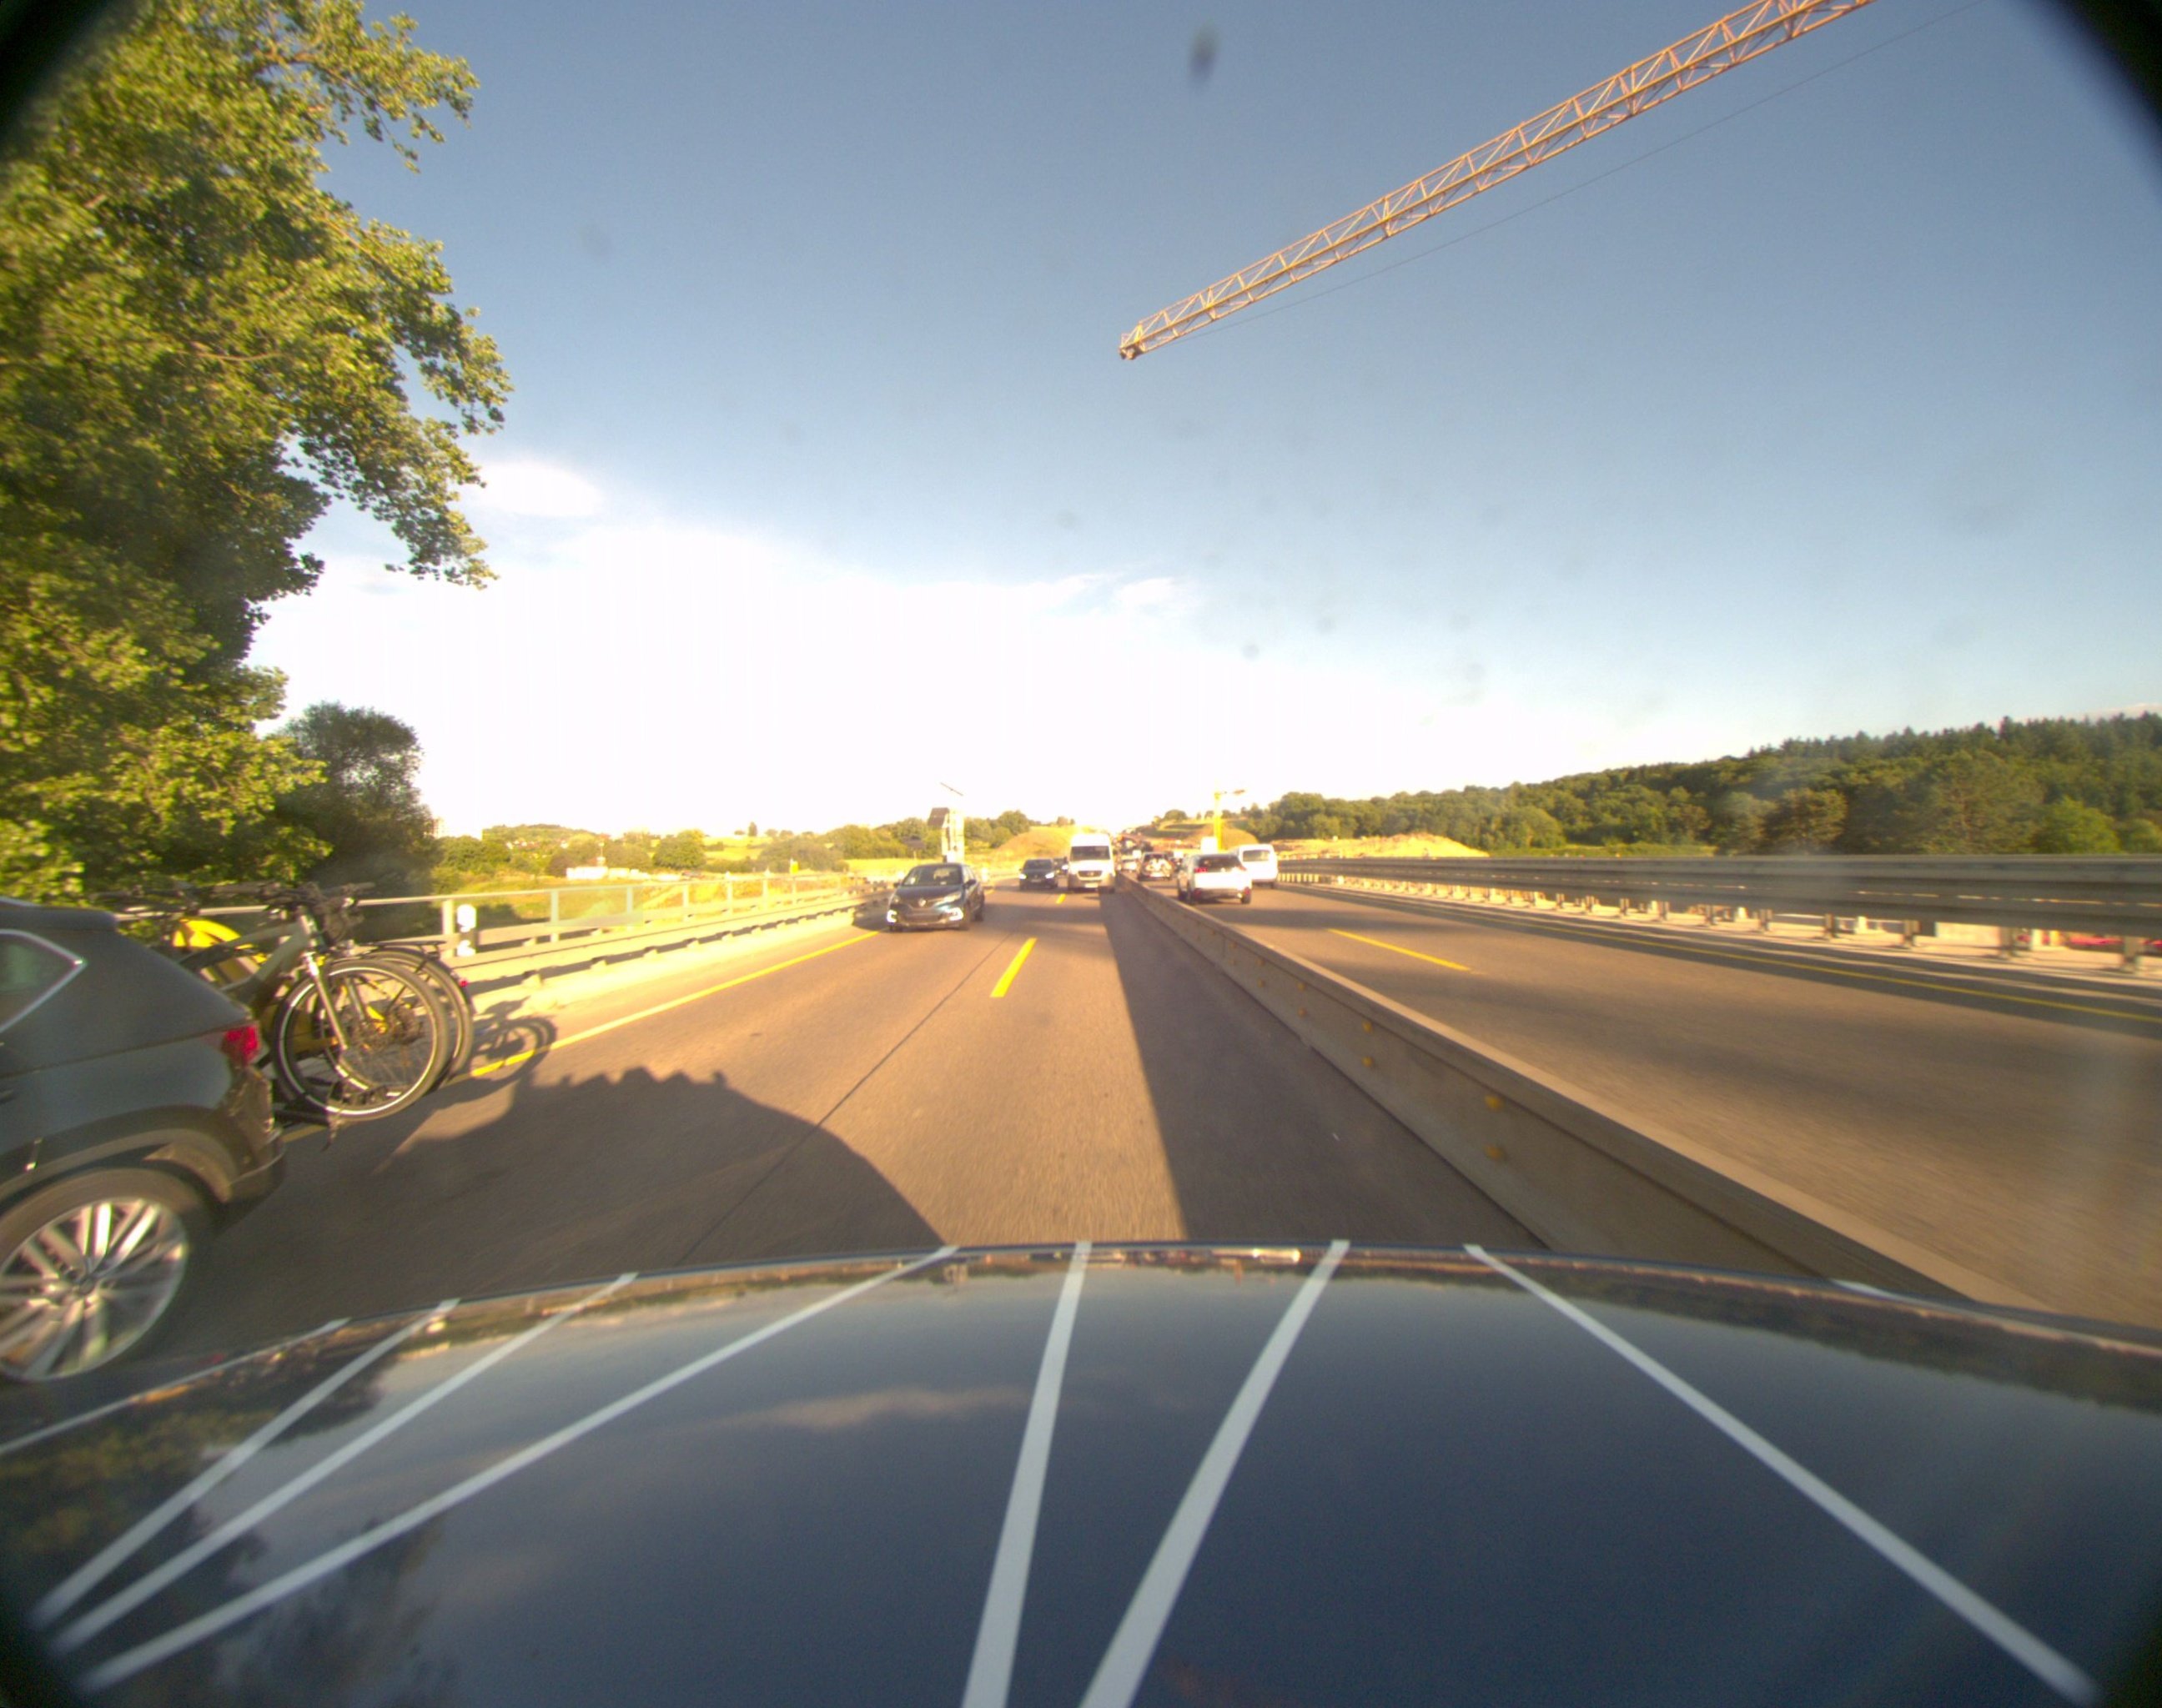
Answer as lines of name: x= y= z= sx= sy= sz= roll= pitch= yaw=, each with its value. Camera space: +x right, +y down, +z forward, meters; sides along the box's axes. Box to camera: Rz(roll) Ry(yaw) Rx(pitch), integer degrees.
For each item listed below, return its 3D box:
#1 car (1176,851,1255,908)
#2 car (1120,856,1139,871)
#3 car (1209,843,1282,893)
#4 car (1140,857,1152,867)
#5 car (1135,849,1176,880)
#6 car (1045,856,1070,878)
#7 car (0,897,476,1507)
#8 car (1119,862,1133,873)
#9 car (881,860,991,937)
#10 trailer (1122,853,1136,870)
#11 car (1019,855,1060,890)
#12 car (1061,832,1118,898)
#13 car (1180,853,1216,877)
car: x=4.137 y=0.751 z=23.975 sx=1.843 sy=1.630 sz=4.000 roll=-1 pitch=0 yaw=1
car: x=6.039 y=1.172 z=94.901 sx=1.998 sy=1.748 sz=4.660 roll=-2 pitch=0 yaw=1
car: x=6.904 y=0.525 z=32.341 sx=1.999 sy=1.845 sz=4.281 roll=-4 pitch=1 yaw=-1
car: x=10.786 y=1.279 z=125.825 sx=1.784 sy=1.561 sz=4.001 roll=-1 pitch=-1 yaw=1
car: x=4.523 y=0.610 z=46.982 sx=1.934 sy=1.744 sz=4.672 roll=-2 pitch=0 yaw=-1
car: x=-1.960 y=1.088 z=64.440 sx=1.902 sy=1.703 sz=4.888 roll=-2 pitch=-1 yaw=0
car: x=-3.936 y=1.023 z=1.229 sx=1.880 sy=1.590 sz=4.966 roll=-2 pitch=0 yaw=0
car: x=6.629 y=1.980 z=112.894 sx=1.809 sy=1.502 sz=4.001 roll=-2 pitch=-1 yaw=1
car: x=-3.367 y=0.998 z=18.377 sx=1.778 sy=1.576 sz=4.135 roll=-2 pitch=-1 yaw=0
trailer: x=11.367 y=1.812 z=181.672 sx=2.821 sy=4.026 sz=14.025 roll=-1 pitch=-1 yaw=2
car: x=-2.155 y=0.950 z=40.315 sx=1.817 sy=1.605 sz=4.526 roll=-4 pitch=0 yaw=0
car: x=0.429 y=0.424 z=32.140 sx=2.109 sy=2.518 sz=5.220 roll=-2 pitch=0 yaw=2
car: x=7.880 y=0.716 z=51.586 sx=1.933 sy=1.537 sz=4.289 roll=0 pitch=0 yaw=2
